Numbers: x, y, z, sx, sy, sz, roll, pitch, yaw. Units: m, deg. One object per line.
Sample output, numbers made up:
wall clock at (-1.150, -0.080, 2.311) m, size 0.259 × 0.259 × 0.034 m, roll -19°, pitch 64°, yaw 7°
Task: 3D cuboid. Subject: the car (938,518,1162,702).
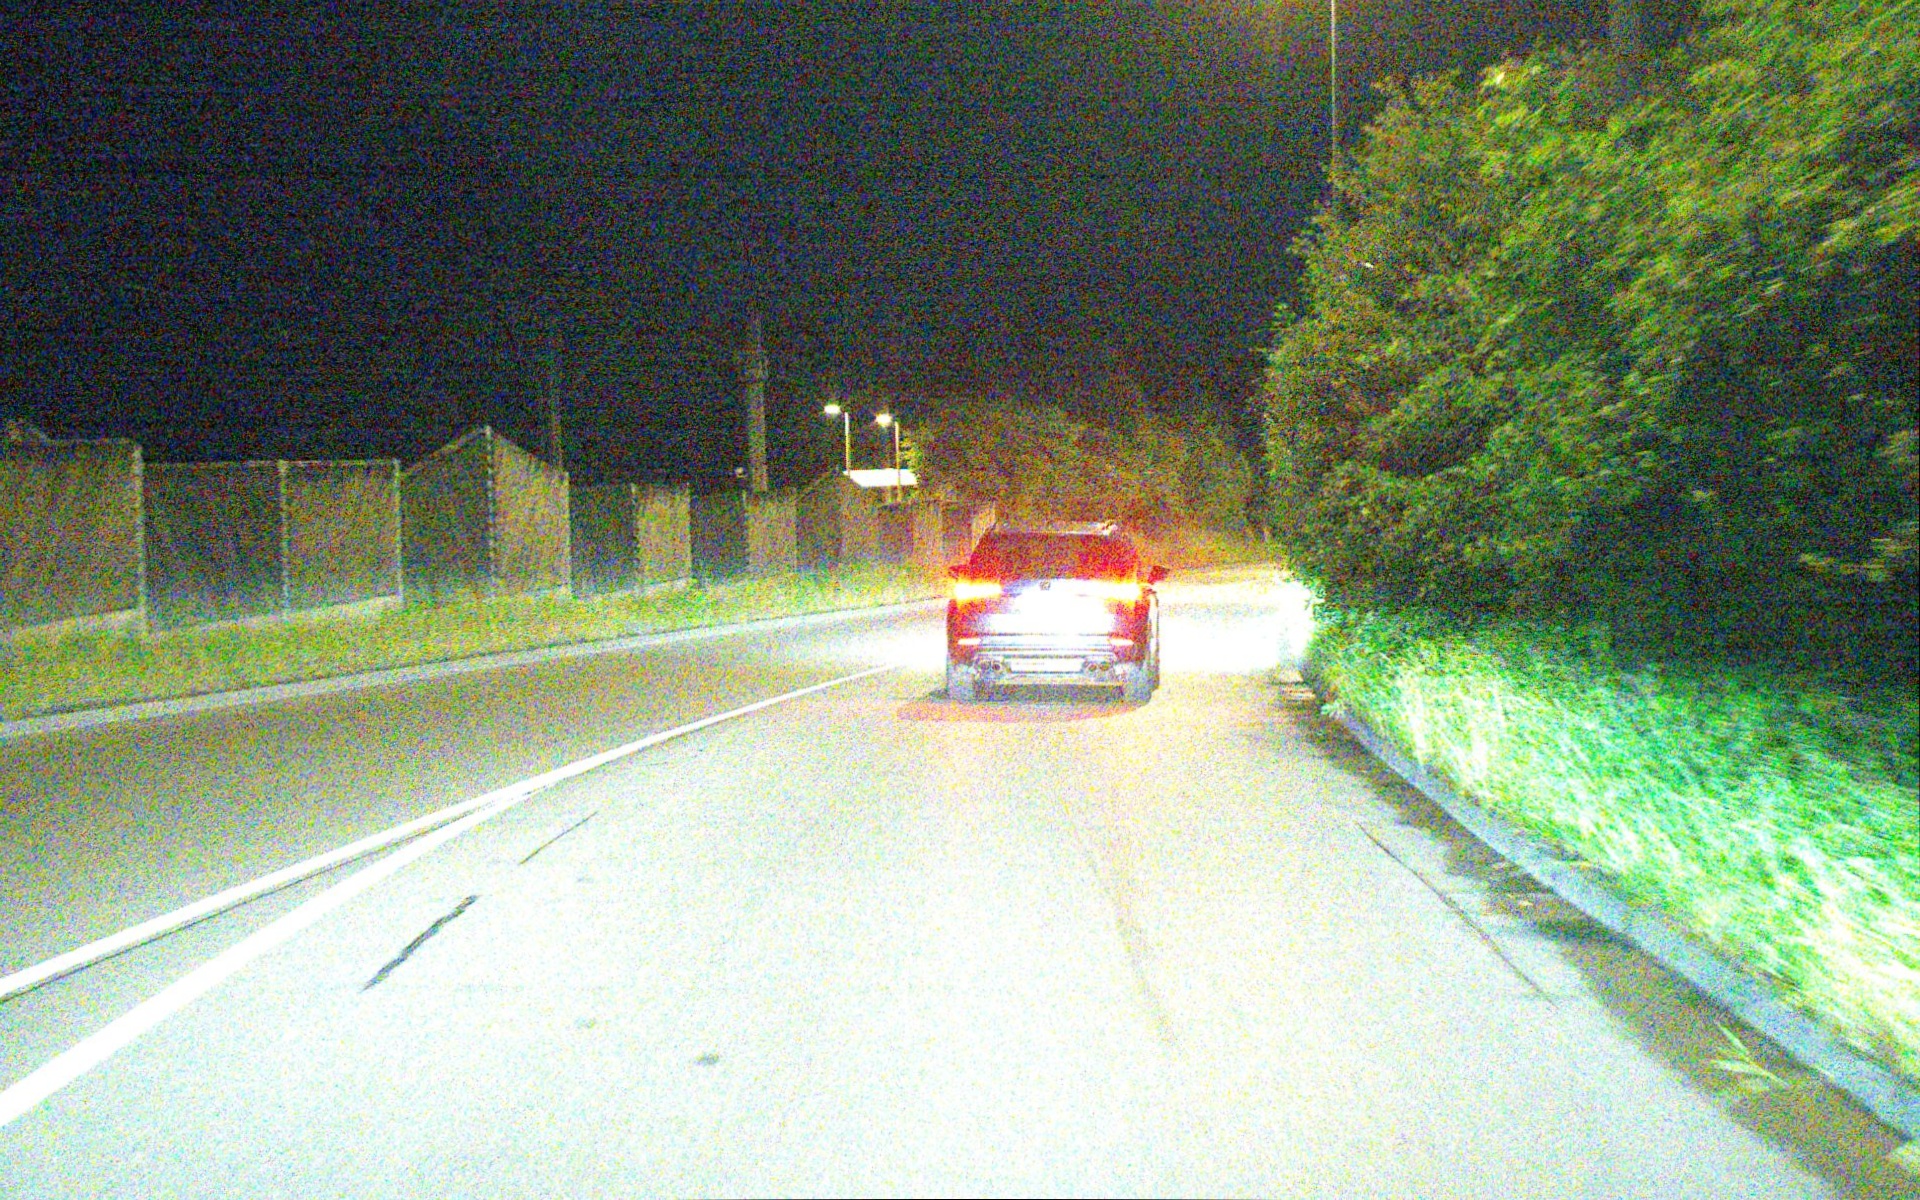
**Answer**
car at (0.881, 0.043, 31.384) m, size 1.815 × 1.568 × 3.943 m, roll 0°, pitch 1°, yaw 5°
